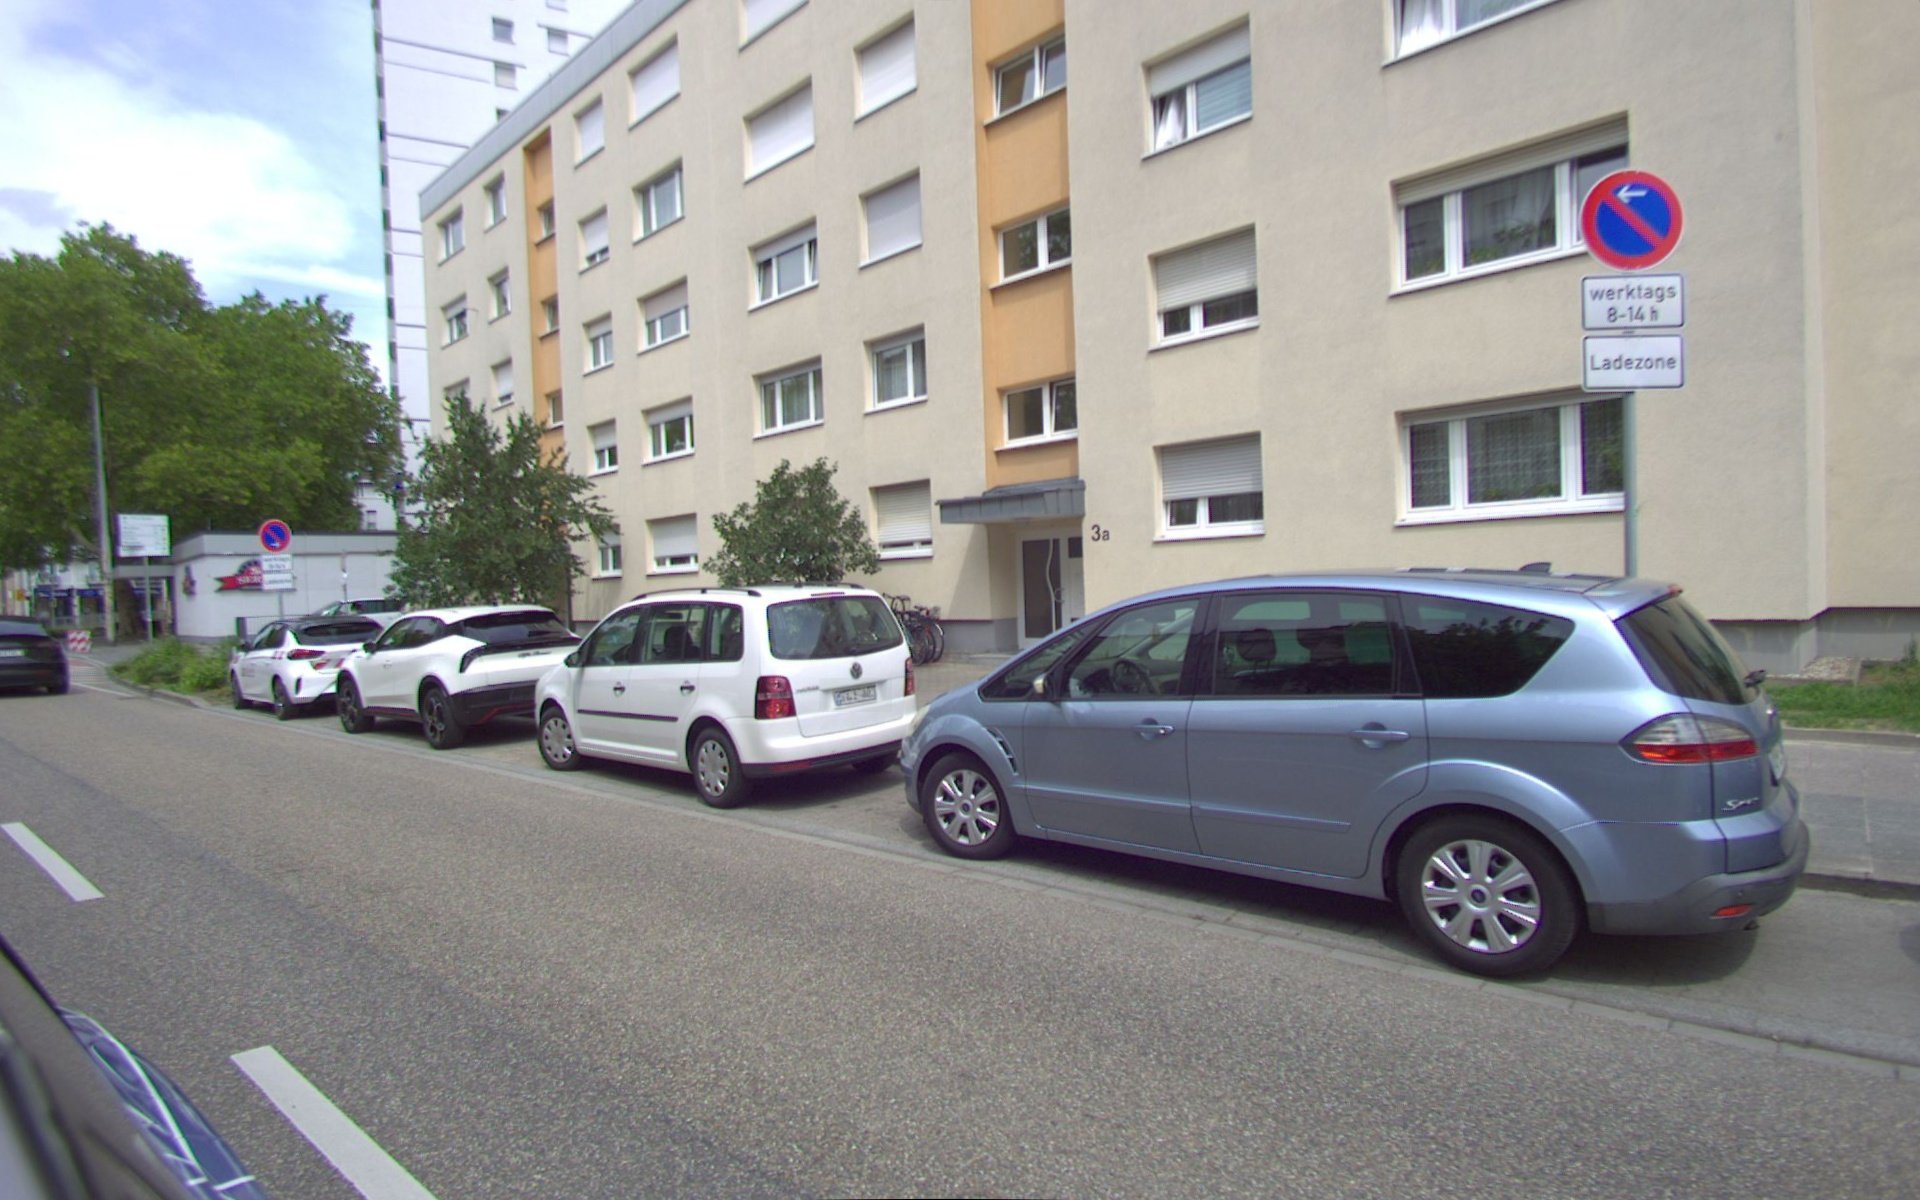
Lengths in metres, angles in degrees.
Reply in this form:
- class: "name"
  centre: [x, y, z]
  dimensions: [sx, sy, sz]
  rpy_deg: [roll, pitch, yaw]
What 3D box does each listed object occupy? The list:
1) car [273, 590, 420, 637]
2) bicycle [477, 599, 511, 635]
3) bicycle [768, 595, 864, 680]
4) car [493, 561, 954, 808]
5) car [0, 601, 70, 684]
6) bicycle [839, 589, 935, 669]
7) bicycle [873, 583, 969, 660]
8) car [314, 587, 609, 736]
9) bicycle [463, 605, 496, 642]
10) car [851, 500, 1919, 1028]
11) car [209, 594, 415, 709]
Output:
- class: "car"
  centre: [-23.752, 0.503, 39.274]
  dimensions: [4.576, 1.699, 1.851]
  rpy_deg: [-1, 0, -43]
- class: "bicycle"
  centre: [-14.048, 0.515, 30.489]
  dimensions: [0.406, 1.045, 1.807]
  rpy_deg: [-2, 1, -42]
- class: "bicycle"
  centre: [-2.341, 0.591, 16.238]
  dimensions: [0.571, 1.260, 1.937]
  rpy_deg: [-2, 0, -39]
- class: "car"
  centre: [-2.286, 0.577, 8.944]
  dimensions: [4.477, 1.624, 1.679]
  rpy_deg: [-1, 2, 43]
- class: "car"
  centre: [-19.617, 0.827, 20.412]
  dimensions: [4.611, 1.532, 1.931]
  rpy_deg: [-1, -1, 41]
- class: "bicycle"
  centre: [-1.271, 0.490, 17.163]
  dimensions: [0.556, 1.260, 1.966]
  rpy_deg: [-2, 0, -39]
- class: "bicycle"
  centre: [-0.700, 0.379, 17.601]
  dimensions: [0.549, 1.260, 1.920]
  rpy_deg: [-2, 0, -41]
- class: "car"
  centre: [-6.214, 0.665, 12.439]
  dimensions: [3.985, 1.484, 1.692]
  rpy_deg: [-1, 2, 39]
- class: "bicycle"
  centre: [-14.205, 0.675, 29.888]
  dimensions: [0.406, 1.045, 1.807]
  rpy_deg: [-2, 1, -40]
- class: "car"
  centre: [1.774, 0.487, 5.462]
  dimensions: [4.861, 1.624, 1.922]
  rpy_deg: [-1, 2, 43]
- class: "car"
  centre: [-10.227, 0.733, 15.859]
  dimensions: [3.989, 1.483, 1.690]
  rpy_deg: [-1, 2, 43]
